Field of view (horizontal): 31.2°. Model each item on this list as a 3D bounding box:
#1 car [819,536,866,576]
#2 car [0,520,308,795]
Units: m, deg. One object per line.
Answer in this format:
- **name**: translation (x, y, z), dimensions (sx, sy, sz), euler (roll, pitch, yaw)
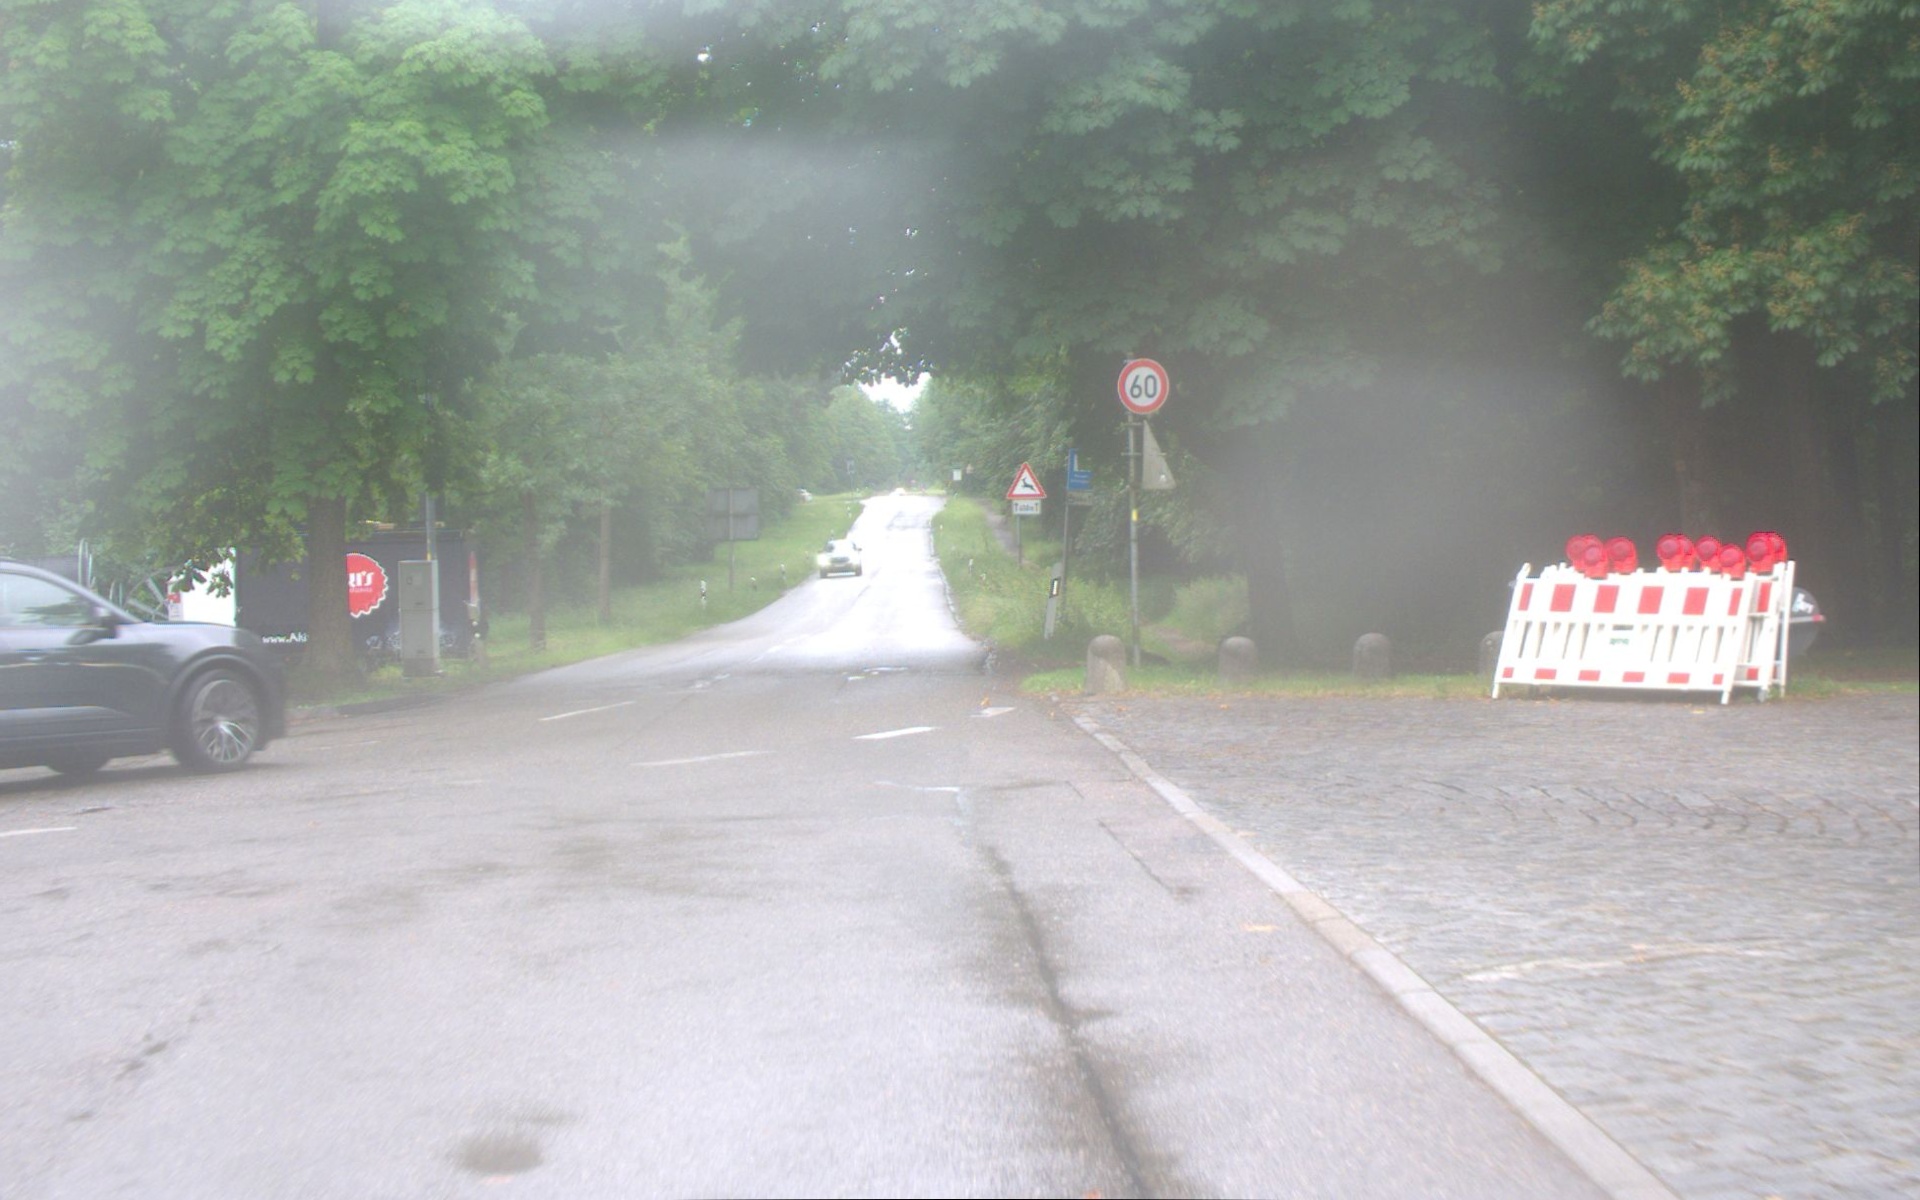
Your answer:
- **car**: translation (-5.385, -2.017, 157.461), dimensions (1.993, 1.711, 4.000), euler (-2, 1, -1)
- **car**: translation (-6.883, 0.438, 23.384), dimensions (1.730, 1.703, 4.564), euler (-1, 3, 44)
